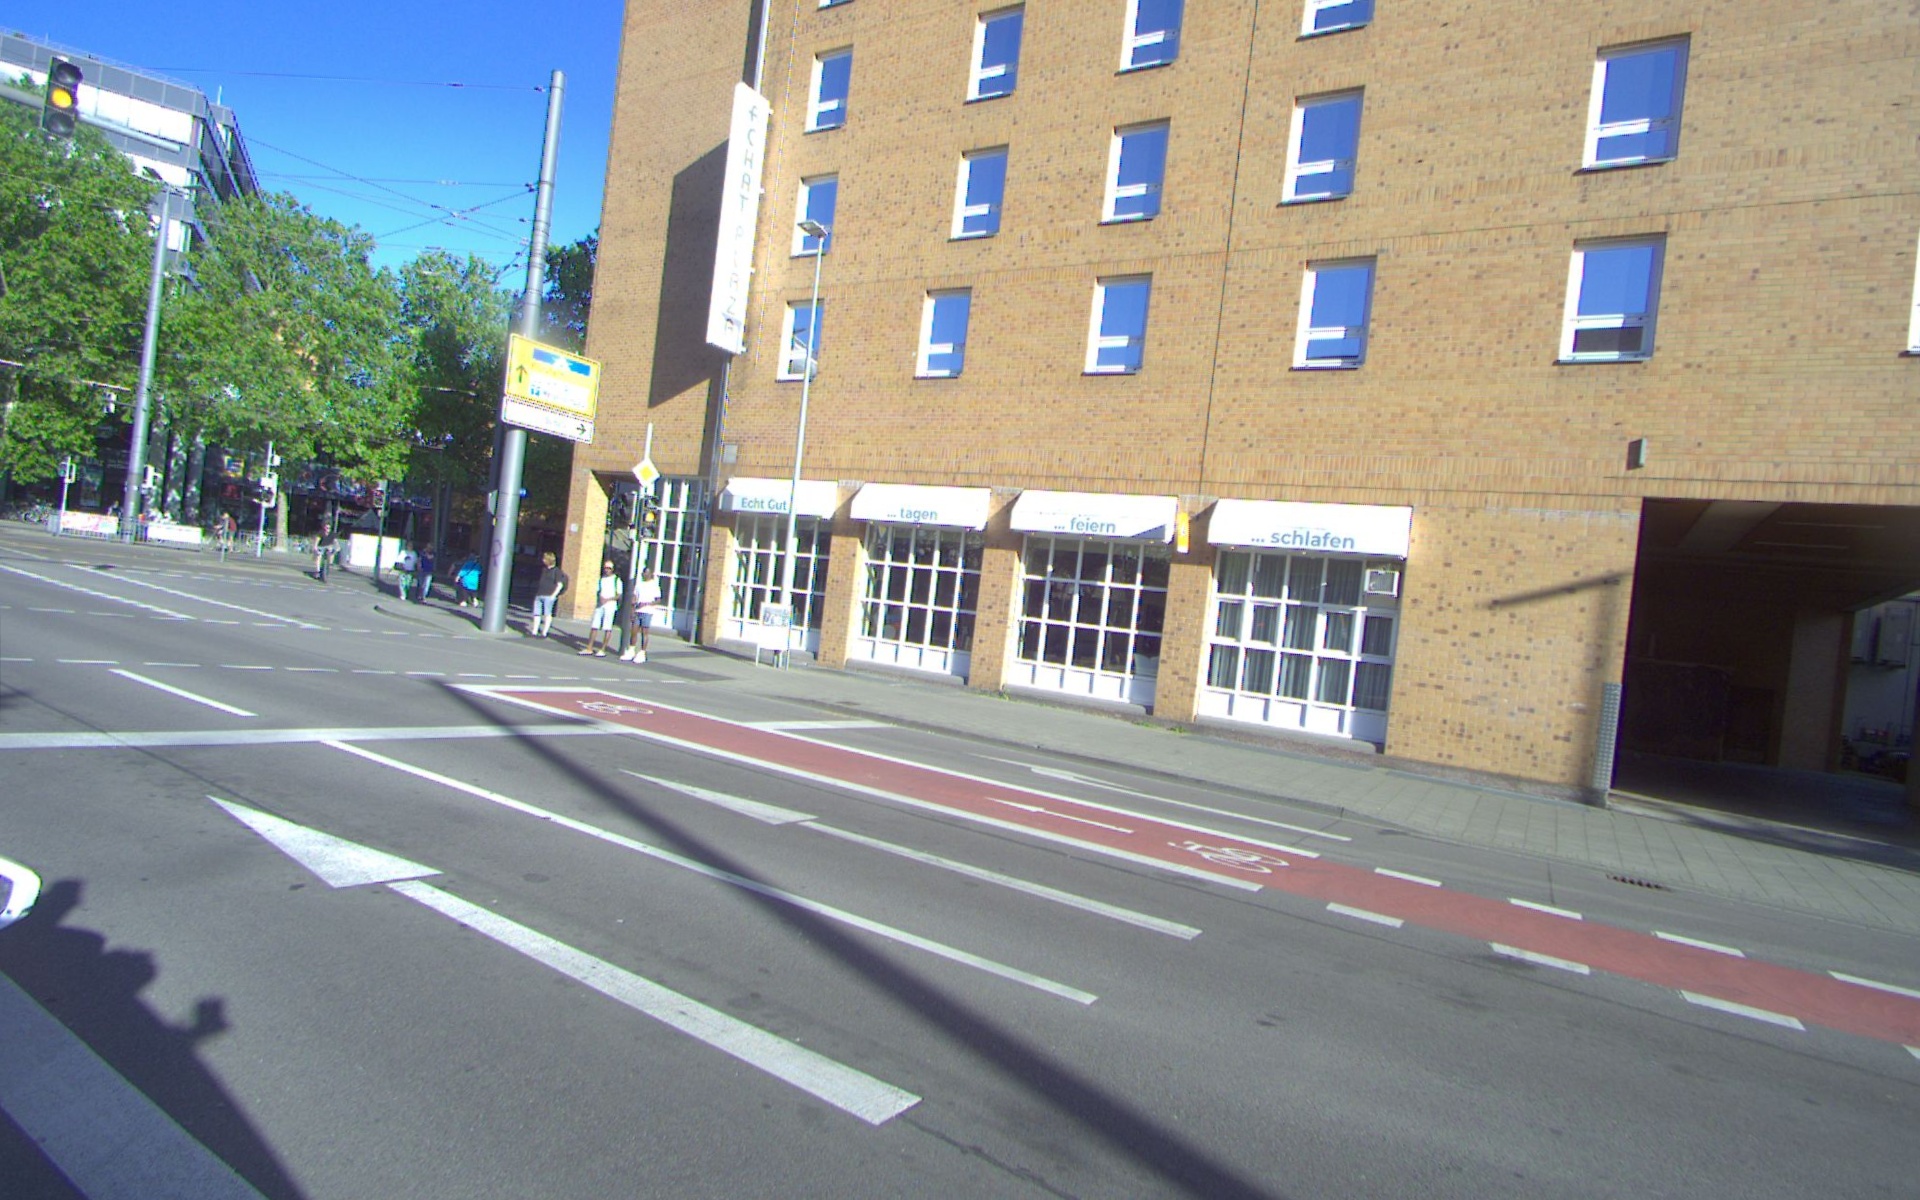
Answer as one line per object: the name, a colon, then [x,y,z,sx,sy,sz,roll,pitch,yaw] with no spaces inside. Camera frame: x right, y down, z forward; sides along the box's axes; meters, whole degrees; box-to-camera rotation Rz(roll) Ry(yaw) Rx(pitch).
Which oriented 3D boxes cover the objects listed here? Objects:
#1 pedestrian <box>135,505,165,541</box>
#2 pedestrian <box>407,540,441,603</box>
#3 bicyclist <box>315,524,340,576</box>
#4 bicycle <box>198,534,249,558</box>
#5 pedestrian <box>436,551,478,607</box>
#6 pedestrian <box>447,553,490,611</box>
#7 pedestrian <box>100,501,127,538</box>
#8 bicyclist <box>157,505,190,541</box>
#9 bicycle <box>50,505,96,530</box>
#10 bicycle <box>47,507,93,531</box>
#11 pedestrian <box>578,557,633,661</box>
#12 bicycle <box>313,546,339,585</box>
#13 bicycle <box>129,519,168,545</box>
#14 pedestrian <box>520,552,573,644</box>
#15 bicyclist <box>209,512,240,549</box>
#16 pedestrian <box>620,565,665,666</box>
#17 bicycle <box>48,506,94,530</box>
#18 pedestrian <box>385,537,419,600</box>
pedestrian: [-40.145,-3.789,49.883,0.761,1.612,0.835,7,-1,-19]
pedestrian: [-15.473,-0.810,29.047,0.595,1.747,0.600,7,-1,-19]
bicyclist: [-19.779,-1.558,31.475,0.573,1.536,0.843,3,5,-30]
bicycle: [-36.351,-2.673,49.669,0.642,0.921,1.854,7,-1,36]
pedestrian: [-15.103,-0.636,30.201,0.729,1.557,0.652,7,-1,24]
pedestrian: [-14.398,-0.515,29.481,0.729,1.557,0.677,7,-1,24]
pedestrian: [-46.252,-4.411,54.951,0.845,1.873,0.799,10,-2,-44]
bicyclist: [-47.524,-4.658,60.762,0.822,1.955,1.227,7,0,34]
bicycle: [-45.399,-4.216,51.505,1.700,0.998,0.386,7,0,-45]
bicycle: [-46.663,-4.262,52.753,1.700,0.998,0.386,7,0,-45]
pedestrian: [-6.672,0.164,18.949,0.719,1.857,0.497,5,2,-3]
bicycle: [-19.771,-1.093,31.399,0.595,1.065,1.865,2,4,-31]
bicycle: [-40.189,-3.363,49.843,0.781,1.064,1.916,8,-2,-18]
pedestrian: [-8.569,-0.040,20.868,0.683,1.789,0.573,8,0,-9]
bicyclist: [-36.281,-3.419,49.634,0.627,1.635,0.926,7,0,35]
pedestrian: [-5.911,0.286,18.743,0.568,1.797,0.405,5,2,-3]
bicycle: [-46.018,-4.244,52.087,1.700,0.998,0.386,7,0,-45]
pedestrian: [-15.908,-0.889,28.706,0.555,1.723,0.656,7,-1,-19]
